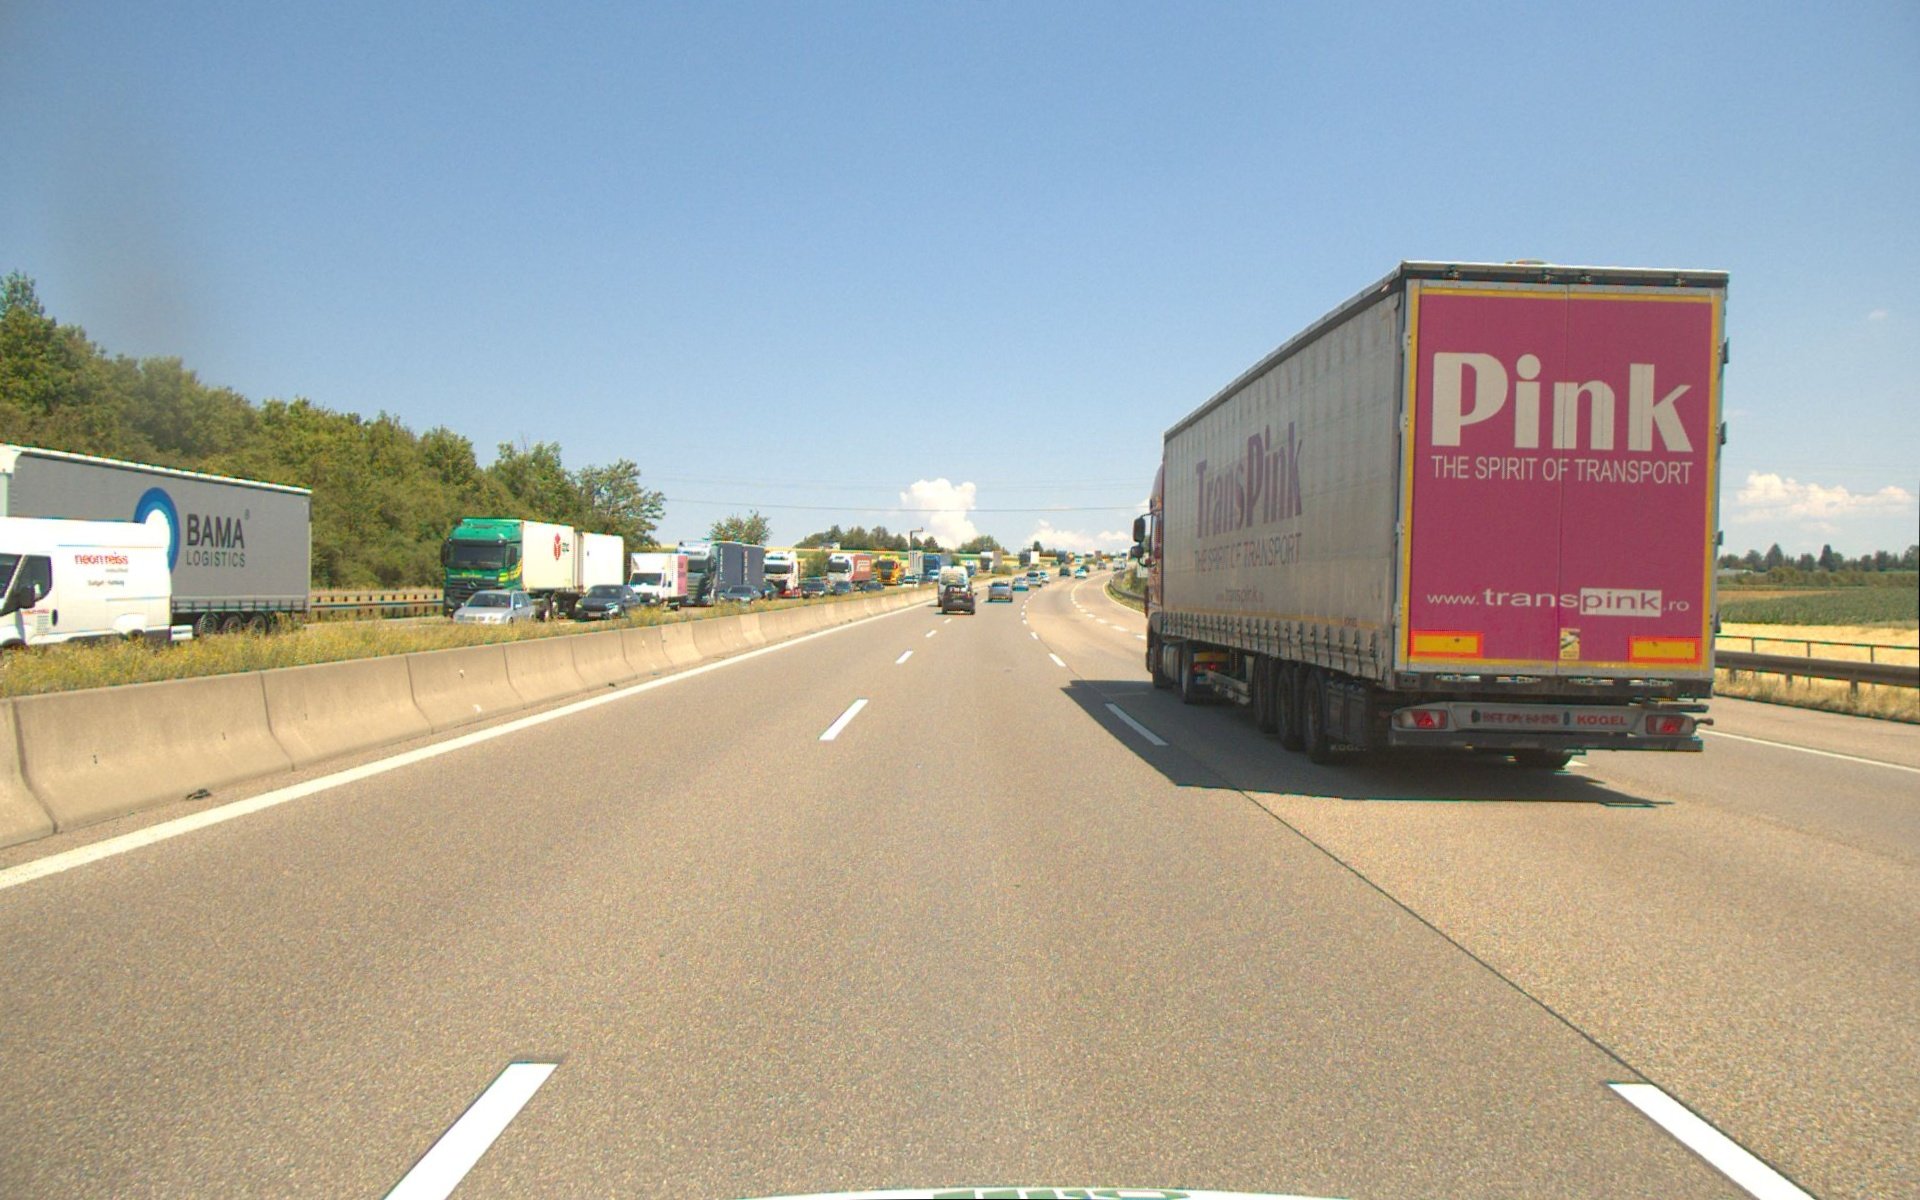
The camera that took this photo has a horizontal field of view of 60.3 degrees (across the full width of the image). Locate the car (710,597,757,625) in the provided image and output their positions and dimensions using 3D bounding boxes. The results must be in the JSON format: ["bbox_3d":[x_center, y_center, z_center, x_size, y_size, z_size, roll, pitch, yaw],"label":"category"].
[{"bbox_3d":[-13.432,0.631,98.321,1.952,1.572,5.495,0,0,1],"label":"car"}]

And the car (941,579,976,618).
[{"bbox_3d":[-0.074,-0.088,88.655,1.809,1.893,4.207,0,2,1],"label":"car"}]

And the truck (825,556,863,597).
[{"bbox_3d":[-12.240,-2.507,175.049,2.971,4.152,6.319,1,1,4],"label":"truck"}]

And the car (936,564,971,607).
[{"bbox_3d":[-0.398,-0.939,108.434,2.135,2.671,4.672,1,-1,1],"label":"car"}]

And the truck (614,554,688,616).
[{"bbox_3d":[-17.111,-0.857,91.948,2.486,3.263,7.591,1,1,1],"label":"truck"}]

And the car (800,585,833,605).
[{"bbox_3d":[-11.201,-0.400,129.030,1.952,1.554,4.774,1,1,2],"label":"car"}]

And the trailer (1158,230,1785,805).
[{"bbox_3d":[4.615,-0.644,19.139,2.859,4.189,13.857,1,0,0],"label":"trailer"}]

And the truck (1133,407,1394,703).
[{"bbox_3d":[4.582,-0.639,26.342,2.857,4.078,6.510,1,0,0],"label":"truck"}]

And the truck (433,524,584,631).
[{"bbox_3d":[-18.193,-0.903,67.562,2.784,3.967,11.250,-1,1,2],"label":"truck"}]

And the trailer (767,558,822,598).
[{"bbox_3d":[-14.306,-1.931,143.884,2.798,3.261,12.789,1,1,3],"label":"trailer"}]

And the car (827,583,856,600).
[{"bbox_3d":[-10.506,-0.753,146.859,1.952,1.480,5.172,0,1,2],"label":"car"}]

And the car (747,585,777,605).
[{"bbox_3d":[-15.194,-0.386,127.096,1.622,1.456,4.650,0,1,2],"label":"car"}]

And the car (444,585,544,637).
[{"bbox_3d":[-14.284,0.370,50.962,1.716,1.486,4.858,1,-1,0],"label":"car"}]

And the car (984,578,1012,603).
[{"bbox_3d":[2.910,-0.729,125.501,1.952,1.780,4.001,1,-1,3],"label":"car"}]

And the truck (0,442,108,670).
[{"bbox_3d":[-18.671,-0.790,30.198,2.794,4.107,6.604,0,0,0],"label":"truck"}]

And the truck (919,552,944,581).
[{"bbox_3d":[-4.492,-5.312,260.685,2.724,4.410,10.658,2,2,5],"label":"truck"}]

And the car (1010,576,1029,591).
[{"bbox_3d":[6.550,-1.815,181.665,1.952,1.613,4.000,0,0,0],"label":"car"}]

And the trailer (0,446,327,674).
[{"bbox_3d":[-18.596,-0.771,37.308,2.842,4.157,14.447,0,0,1],"label":"trailer"}]

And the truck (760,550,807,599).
[{"bbox_3d":[-14.641,-2.090,137.497,2.840,3.944,6.181,1,1,3],"label":"truck"}]

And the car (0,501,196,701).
[{"bbox_3d":[-14.702,0.050,26.207,2.095,2.835,6.624,1,-1,0],"label":"car"}]

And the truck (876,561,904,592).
[{"bbox_3d":[-9.146,-3.153,216.865,2.692,3.903,7.104,1,1,6],"label":"truck"}]

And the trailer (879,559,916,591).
[{"bbox_3d":[-8.375,-3.442,223.962,2.890,4.171,14.393,1,1,6],"label":"trailer"}]

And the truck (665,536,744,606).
[{"bbox_3d":[-16.486,-1.869,107.444,2.938,4.308,10.738,0,1,3],"label":"truck"}]

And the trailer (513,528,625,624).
[{"bbox_3d":[-17.891,-1.106,76.287,2.859,4.143,8.233,-1,1,2],"label":"trailer"}]

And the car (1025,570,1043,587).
[{"bbox_3d":[9.071,-2.587,203.023,1.953,1.937,3.999,1,-1,0],"label":"car"}]

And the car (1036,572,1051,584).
[{"bbox_3d":[11.811,-3.121,233.378,1.952,1.578,4.003,2,2,3],"label":"car"}]

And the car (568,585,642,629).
[{"bbox_3d":[-14.144,0.318,66.129,1.823,1.670,5.113,0,-1,0],"label":"car"}]
